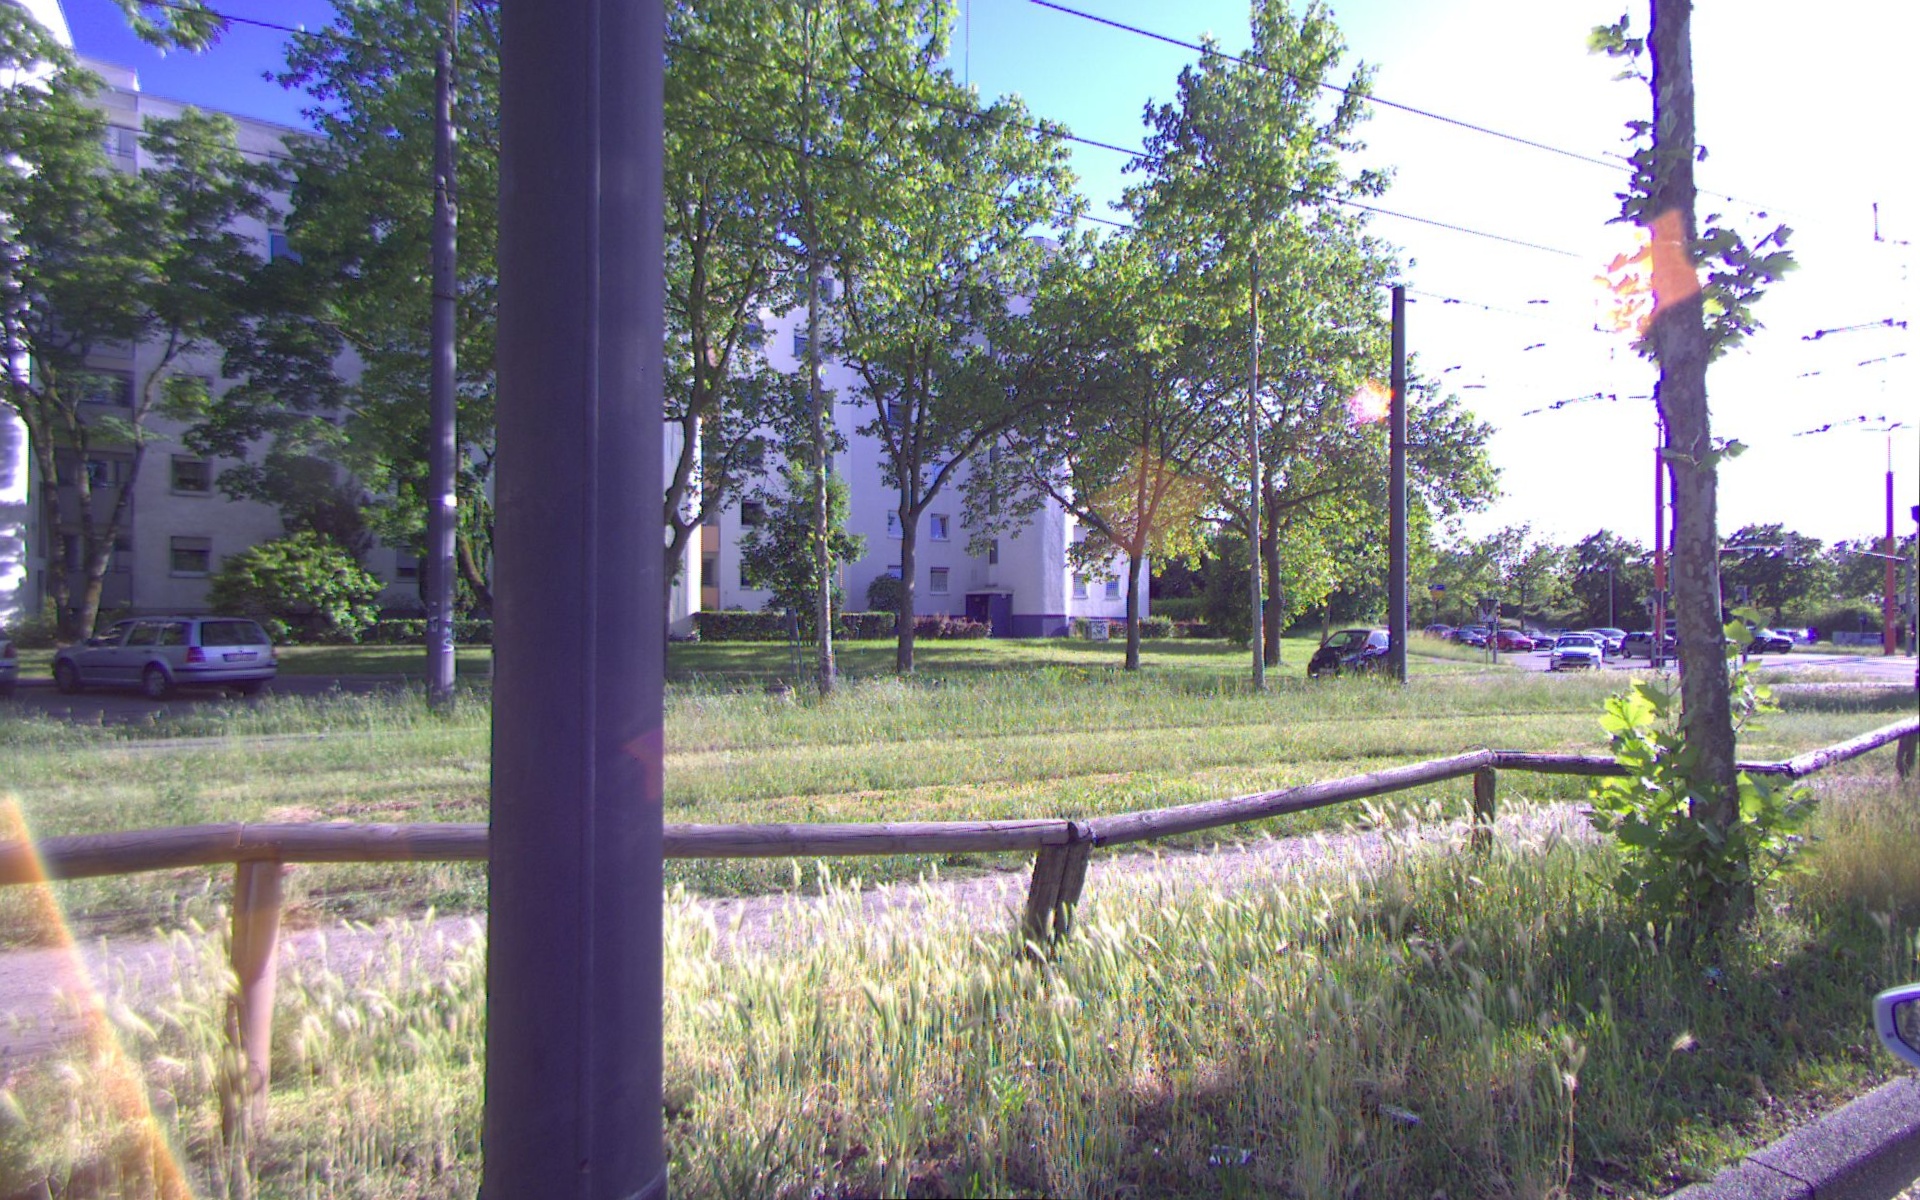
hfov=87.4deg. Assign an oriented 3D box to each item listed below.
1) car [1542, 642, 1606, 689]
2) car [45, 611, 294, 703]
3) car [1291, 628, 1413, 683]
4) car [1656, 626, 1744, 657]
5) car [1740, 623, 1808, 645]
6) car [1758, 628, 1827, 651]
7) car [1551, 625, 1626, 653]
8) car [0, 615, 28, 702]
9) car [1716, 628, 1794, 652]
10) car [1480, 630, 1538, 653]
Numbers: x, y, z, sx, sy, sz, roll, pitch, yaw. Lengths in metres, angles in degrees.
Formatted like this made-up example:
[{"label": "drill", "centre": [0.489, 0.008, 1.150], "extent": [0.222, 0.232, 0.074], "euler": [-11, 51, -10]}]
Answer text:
[{"label": "car", "centre": [26.350, 2.753, 43.057], "extent": [1.968, 1.754, 4.828], "euler": [0, -1, 36]}, {"label": "car", "centre": [-14.541, 0.982, 18.508], "extent": [3.898, 1.462, 1.710], "euler": [1, 0, 18]}, {"label": "car", "centre": [10.786, 1.486, 27.640], "extent": [2.816, 1.409, 1.790], "euler": [1, -1, -30]}, {"label": "car", "centre": [42.492, 2.342, 57.812], "extent": [1.962, 1.666, 3.997], "euler": [1, -1, -5]}, {"label": "car", "centre": [59.138, 2.437, 73.077], "extent": [1.663, 1.543, 3.830], "euler": [1, -1, -4]}, {"label": "car", "centre": [64.558, 3.065, 77.956], "extent": [1.817, 1.665, 4.132], "euler": [1, -1, -3]}, {"label": "car", "centre": [39.041, 2.390, 62.499], "extent": [1.833, 1.633, 4.185], "euler": [1, -1, -4]}, {"label": "car", "centre": [-17.969, 0.964, 17.094], "extent": [3.547, 1.439, 1.576], "euler": [1, 0, 18]}, {"label": "car", "centre": [48.780, 2.426, 61.735], "extent": [1.664, 1.347, 4.001], "euler": [1, -1, 2]}, {"label": "car", "centre": [38.456, 2.887, 70.432], "extent": [1.699, 1.533, 3.998], "euler": [1, -1, -4]}]
